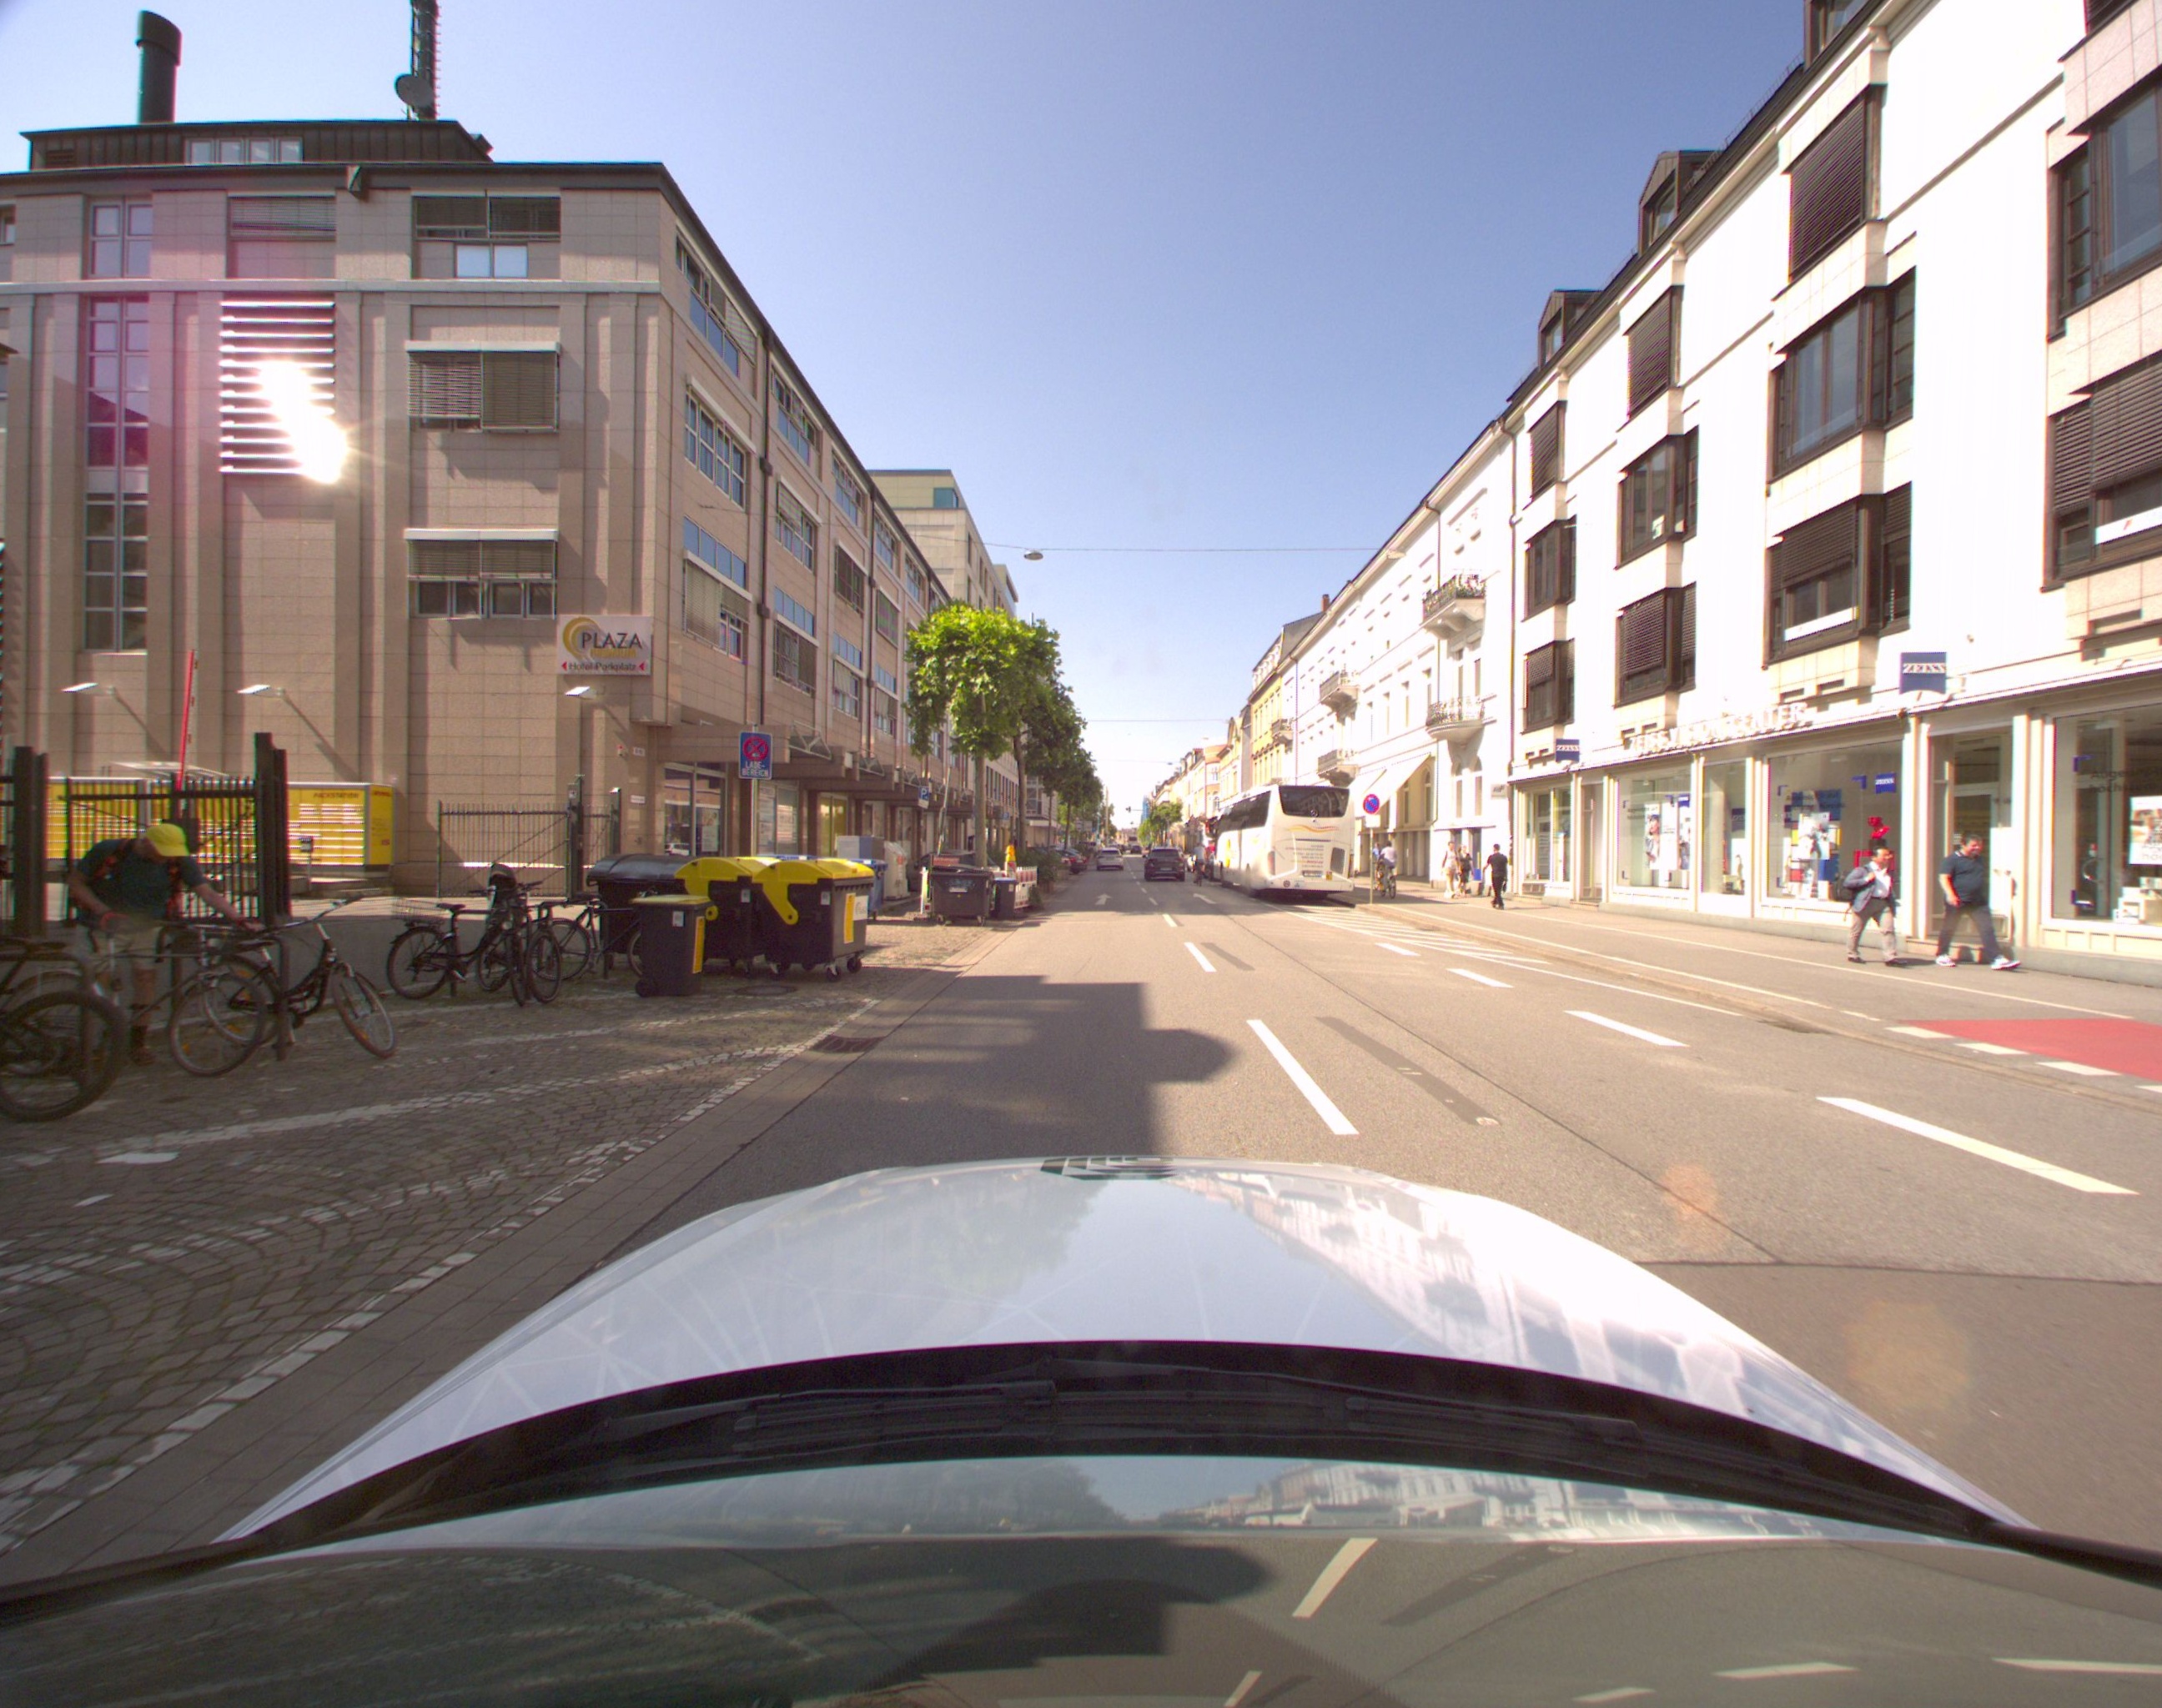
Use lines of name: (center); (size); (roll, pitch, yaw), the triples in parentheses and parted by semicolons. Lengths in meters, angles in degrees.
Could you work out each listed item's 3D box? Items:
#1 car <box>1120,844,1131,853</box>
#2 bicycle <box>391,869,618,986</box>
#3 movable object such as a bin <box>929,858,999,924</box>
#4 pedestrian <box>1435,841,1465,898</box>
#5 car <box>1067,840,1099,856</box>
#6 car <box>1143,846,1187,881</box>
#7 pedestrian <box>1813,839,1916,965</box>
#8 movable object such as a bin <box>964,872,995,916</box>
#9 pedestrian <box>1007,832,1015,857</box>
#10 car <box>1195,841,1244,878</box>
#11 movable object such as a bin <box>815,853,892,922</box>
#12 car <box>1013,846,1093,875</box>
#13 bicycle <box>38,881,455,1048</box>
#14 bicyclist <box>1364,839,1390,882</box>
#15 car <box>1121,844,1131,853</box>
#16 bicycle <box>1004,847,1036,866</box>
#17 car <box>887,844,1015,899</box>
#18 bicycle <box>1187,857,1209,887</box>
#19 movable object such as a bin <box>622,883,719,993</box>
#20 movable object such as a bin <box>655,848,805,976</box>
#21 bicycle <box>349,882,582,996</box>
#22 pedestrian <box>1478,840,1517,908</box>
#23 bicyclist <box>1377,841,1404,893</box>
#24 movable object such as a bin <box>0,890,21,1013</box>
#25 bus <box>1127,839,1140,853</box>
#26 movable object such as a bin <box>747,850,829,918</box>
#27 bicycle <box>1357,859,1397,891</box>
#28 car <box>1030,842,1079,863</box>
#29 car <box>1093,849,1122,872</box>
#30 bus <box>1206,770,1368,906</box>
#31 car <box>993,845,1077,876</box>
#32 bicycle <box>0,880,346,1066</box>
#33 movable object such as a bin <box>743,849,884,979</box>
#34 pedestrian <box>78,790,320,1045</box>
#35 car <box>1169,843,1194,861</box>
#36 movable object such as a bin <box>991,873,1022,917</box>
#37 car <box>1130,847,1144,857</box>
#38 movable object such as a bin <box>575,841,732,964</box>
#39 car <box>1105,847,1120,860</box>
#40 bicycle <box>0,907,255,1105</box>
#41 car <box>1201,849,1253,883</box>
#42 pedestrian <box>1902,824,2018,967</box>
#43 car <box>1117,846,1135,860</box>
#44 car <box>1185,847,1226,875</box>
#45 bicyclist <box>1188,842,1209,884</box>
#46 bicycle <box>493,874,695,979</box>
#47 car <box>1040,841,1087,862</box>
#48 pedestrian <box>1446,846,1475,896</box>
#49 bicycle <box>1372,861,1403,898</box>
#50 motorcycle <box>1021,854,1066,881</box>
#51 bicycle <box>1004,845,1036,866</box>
car: (7.640, -0.900, 140.582); (1.856, 1.441, 4.001); (-1, -1, 2)
bicycle: (-6.121, 0.769, 8.701); (1.968, 1.120, 0.509); (3, -1, -2)
movable object such as a bin: (-2.422, 0.757, 16.969); (1.272, 1.299, 0.854); (1, 0, 2)
pedestrian: (11.735, 0.483, 25.951); (0.570, 1.778, 1.021); (0, -1, 5)
car: (0.288, -0.955, 123.143); (4.666, 2.003, 1.953); (5, 0, 42)
car: (3.898, 0.408, 38.307); (1.826, 1.527, 4.003); (1, 0, 2)
pedestrian: (10.900, 0.636, 11.362); (0.690, 1.685, 0.838); (0, 0, 11)
movable object such as a bin: (-2.272, 0.883, 18.250); (0.495, 0.939, 0.558); (-1, 1, 19)
pedestrian: (-4.747, -0.627, 55.174); (0.564, 1.657, 0.636); (0, 0, -4)
car: (7.637, 0.272, 45.262); (1.822, 1.863, 4.352); (2, 1, -1)
movable object such as a bin: (-4.688, 0.667, 16.874); (1.204, 1.299, 1.081); (3, 2, 2)
car: (-1.686, 0.356, 48.188); (4.737, 1.422, 1.894); (3, 2, 42)
bicycle: (-6.132, 0.820, 6.102); (2.235, 1.120, 0.555); (3, -1, -9)
bicyclist: (10.771, 0.235, 29.643); (0.618, 1.529, 0.869); (1, 0, 1)
car: (9.591, -1.099, 173.632); (1.856, 1.849, 4.001); (-1, -1, 2)
bicycle: (-4.052, 0.172, 54.002); (2.062, 1.130, 0.463); (3, 0, -5)
car: (-4.160, 0.494, 25.688); (4.008, 1.494, 1.947); (3, 2, 43)
bicycle: (4.809, 0.710, 33.567); (0.662, 1.120, 2.245); (3, 1, 3)
movable object such as a bin: (-4.466, 0.903, 8.896); (0.721, 1.098, 0.655); (2, 1, -5)
movable object such as a bin: (-4.431, 0.684, 10.416); (1.117, 1.450, 1.442); (2, 1, 8)
bicycle: (-6.076, 0.828, 8.099); (1.838, 1.073, 0.556); (1, -1, -2)
pedestrian: (10.859, 0.529, 21.258); (0.617, 1.720, 0.836); (0, -2, 5)
bicyclist: (9.806, 0.398, 25.835); (0.689, 1.625, 0.838); (0, 0, 13)
movable object such as a bin: (-8.093, 0.695, 5.678); (0.653, 0.876, 0.510); (1, -1, -5)
bus: (13.519, -2.121, 211.414); (2.761, 3.605, 8.971); (0, 1, 0)
movable object such as a bin: (-6.076, 0.592, 16.962); (1.204, 1.299, 1.128); (2, 1, 2)
bicycle: (10.765, 0.747, 29.663); (0.618, 1.099, 2.353); (1, 0, 1)
car: (-2.235, -0.137, 69.577); (3.976, 1.500, 1.716); (5, 0, -2)
car: (1.795, 0.396, 54.187); (1.855, 1.441, 4.004); (1, 1, 3)
bus: (6.802, -0.510, 29.350); (2.871, 3.741, 12.431); (3, 1, 2)
car: (-2.578, 0.325, 45.237); (4.699, 1.533, 2.002); (2, 1, 45)
bicycle: (-6.271, 0.781, 5.450); (1.959, 1.120, 0.555); (3, -1, -9)
movable object such as a bin: (-3.317, 0.690, 10.271); (1.117, 1.450, 1.442); (2, 1, 8)
pedestrian: (-6.346, 0.436, 5.914); (0.887, 1.725, 0.747); (1, 0, -4)
car: (8.998, -0.150, 73.276); (1.826, 1.527, 4.002); (-1, -1, 2)
movable object such as a bin: (-1.685, 0.923, 18.477); (0.556, 0.939, 0.497); (-1, 1, -24)
car: (8.400, -0.276, 122.321); (1.856, 1.441, 4.002); (0, 1, 2)
movable object such as a bin: (-5.560, 0.579, 10.690); (1.202, 1.450, 1.367); (2, 1, 8)
car: (3.680, -0.112, 96.016); (1.736, 1.441, 4.002); (0, 1, 2)
bicycle: (-6.242, 0.848, 4.726); (1.962, 1.017, 0.669); (3, -1, -9)
car: (7.034, 0.514, 39.738); (1.851, 1.469, 5.230); (2, 1, 3)
pedestrian: (11.845, 0.545, 11.011); (0.690, 1.851, 0.838); (0, -1, 11)
car: (4.648, -0.093, 84.458); (1.736, 1.441, 4.002); (0, 1, 2)
car: (7.675, 0.407, 50.727); (1.807, 1.466, 4.580); (2, 2, 0)
bicyclist: (4.867, 0.354, 33.745); (0.691, 1.673, 0.917); (3, 1, 3)
bicycle: (-5.578, 0.817, 9.388); (1.961, 1.120, 0.509); (2, -1, -2)
car: (-1.652, -0.225, 75.958); (3.951, 1.568, 1.710); (6, 1, 27)
pedestrian: (12.450, 0.552, 26.729); (0.642, 1.617, 0.823); (0, -1, 5)
bicycle: (9.830, 0.789, 26.156); (0.591, 1.120, 1.806); (1, 1, 10)
motorcycle: (-1.740, 0.618, 37.347); (1.893, 1.170, 0.764); (2, 1, 23)
bicycle: (-4.118, 0.117, 54.693); (2.062, 1.288, 0.367); (3, 0, -5)
